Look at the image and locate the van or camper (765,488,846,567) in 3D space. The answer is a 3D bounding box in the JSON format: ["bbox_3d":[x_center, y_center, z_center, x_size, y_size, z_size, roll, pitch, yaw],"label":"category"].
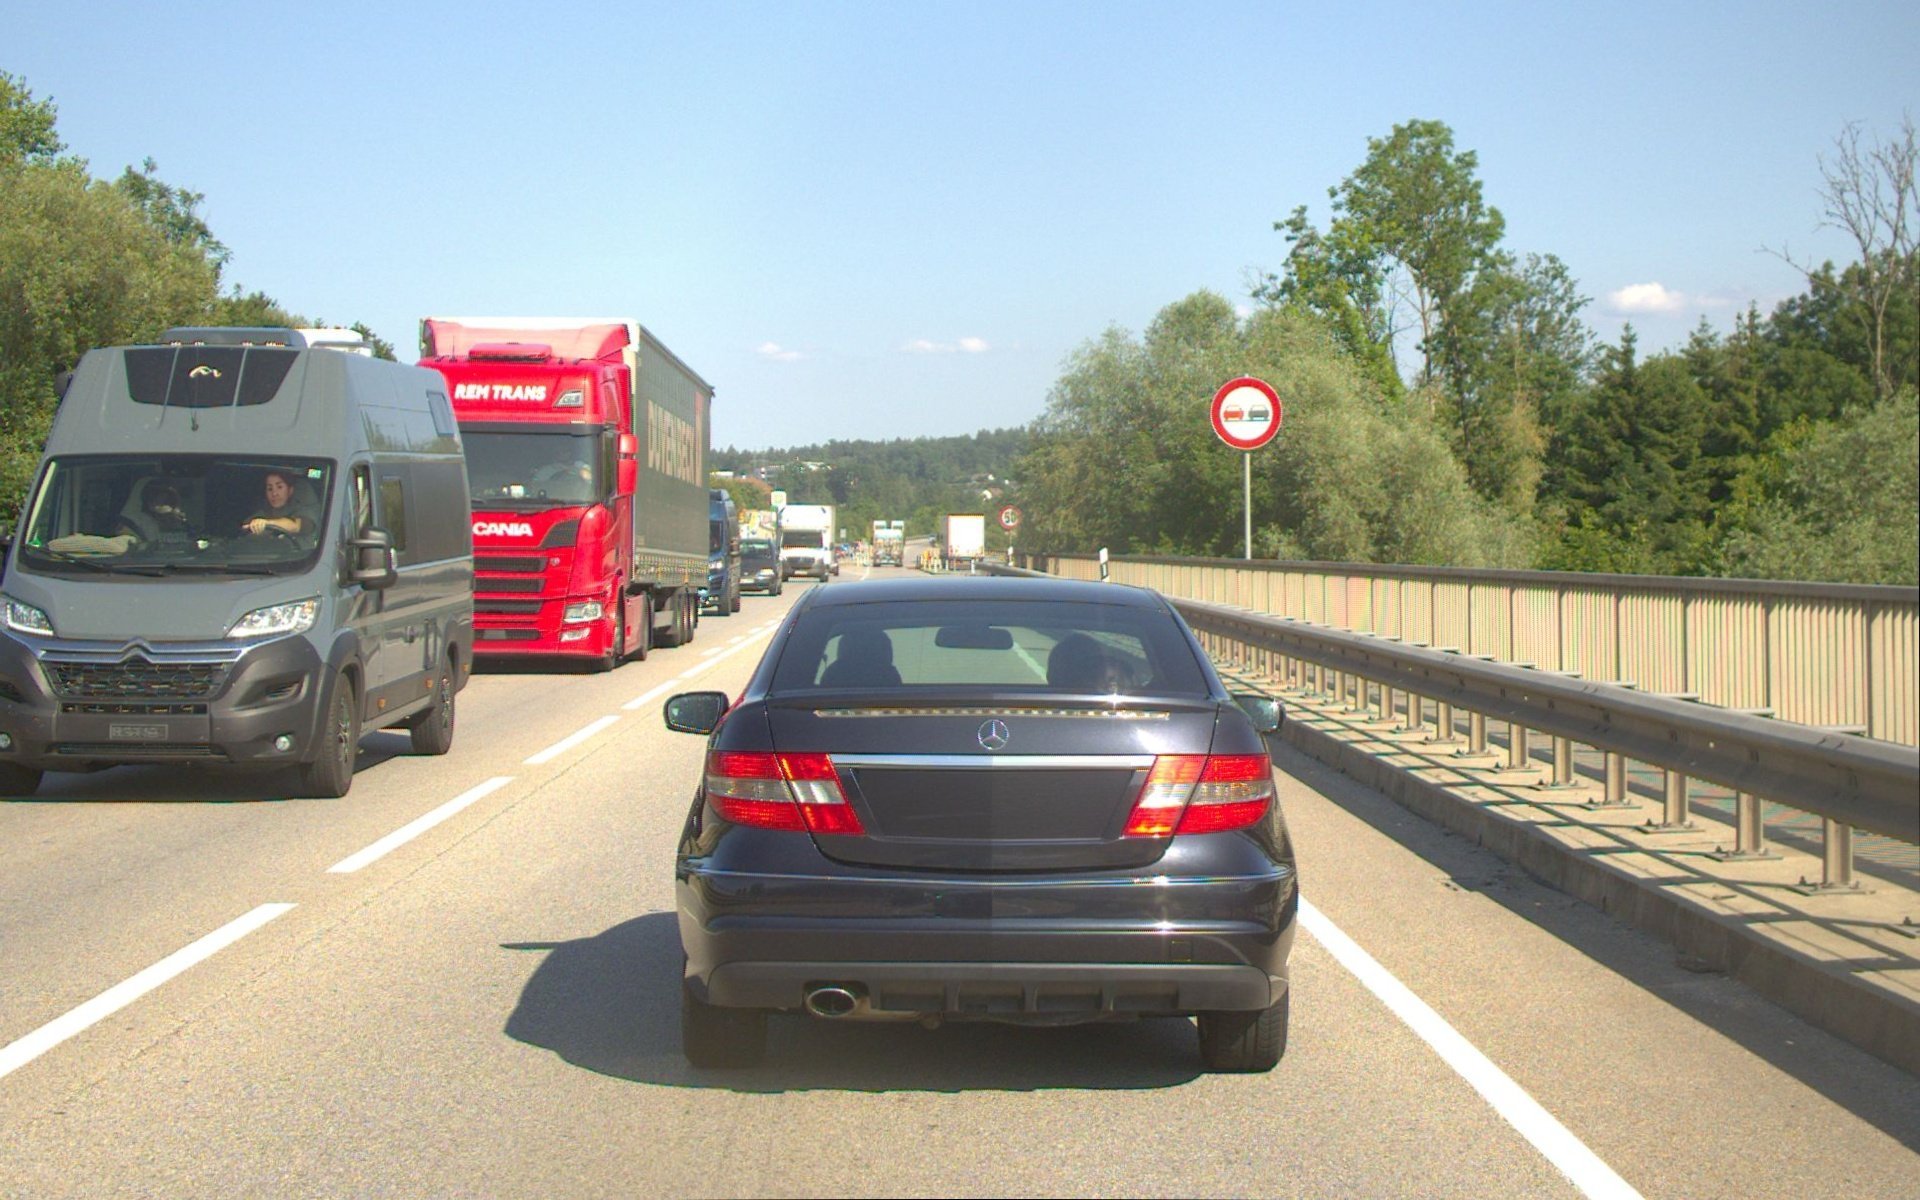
[{"bbox_3d":[-6.512,-3.087,146.020,2.636,3.244,7.749,1,1,3],"label":"van or camper"}]

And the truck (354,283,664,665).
[{"bbox_3d":[-5.191,-1.435,40.534,2.908,4.170,5.713,0,1,0],"label":"truck"}]

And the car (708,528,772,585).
[{"bbox_3d":[-6.479,-1.307,101.261,1.841,1.636,4.578,0,1,-4],"label":"car"}]

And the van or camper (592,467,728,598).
[{"bbox_3d":[-6.318,-1.439,73.151,2.430,2.633,6.405,0,1,-1],"label":"van or camper"}]

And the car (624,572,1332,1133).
[{"bbox_3d":[0.055,0.626,10.744,1.793,1.371,4.000,0,1,0],"label":"car"}]

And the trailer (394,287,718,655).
[{"bbox_3d":[-5.245,-1.655,47.517,2.907,4.287,14.303,0,1,-1],"label":"trailer"}]

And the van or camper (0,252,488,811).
[{"bbox_3d":[-4.584,-0.451,22.231,2.315,3.040,6.818,1,1,-2],"label":"van or camper"}]
